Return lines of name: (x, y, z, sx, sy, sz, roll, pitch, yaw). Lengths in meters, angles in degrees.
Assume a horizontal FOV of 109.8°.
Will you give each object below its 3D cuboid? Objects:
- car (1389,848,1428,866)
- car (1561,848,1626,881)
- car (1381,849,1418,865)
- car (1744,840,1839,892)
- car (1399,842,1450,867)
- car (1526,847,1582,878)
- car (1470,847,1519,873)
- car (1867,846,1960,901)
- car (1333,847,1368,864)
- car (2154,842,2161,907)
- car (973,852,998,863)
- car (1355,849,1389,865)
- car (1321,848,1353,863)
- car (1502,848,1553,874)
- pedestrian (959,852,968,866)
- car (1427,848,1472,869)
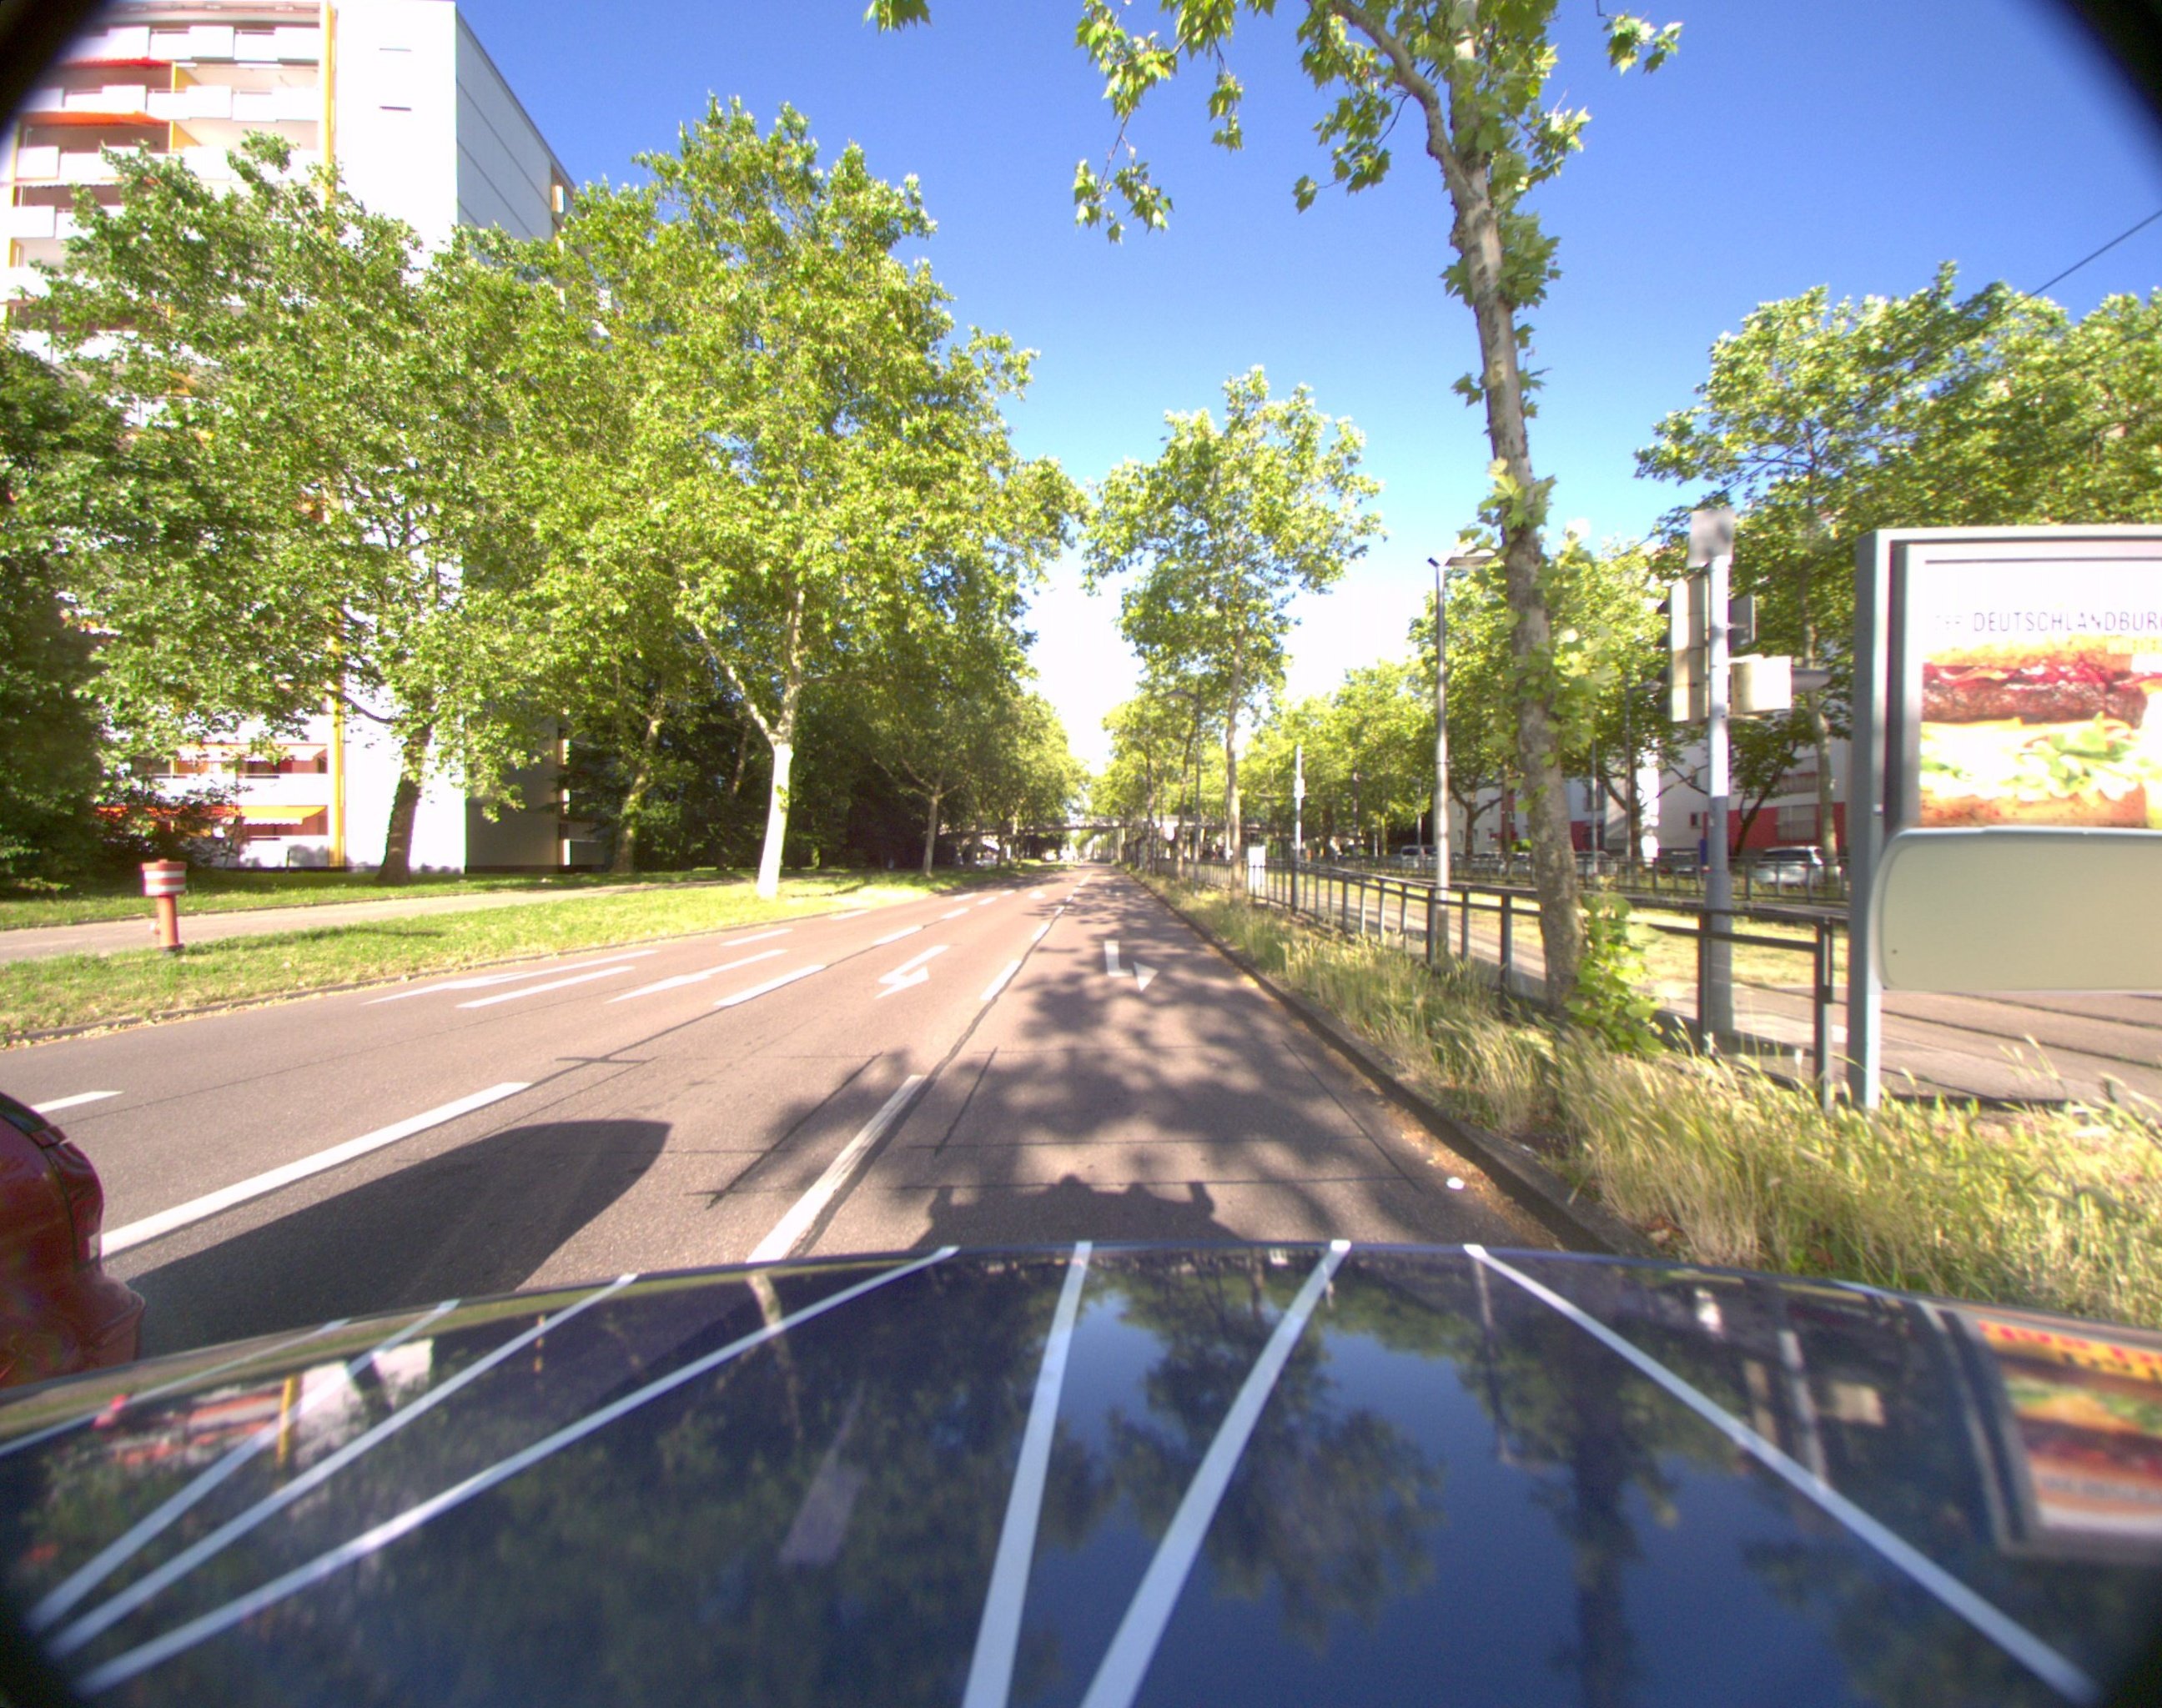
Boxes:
car: (25.980, 0.237, 60.244, 3.494, 1.336, 1.476, -1, 1, -41)
car: (25.518, 0.517, 37.779, 3.890, 1.406, 1.486, -3, 1, -37)
car: (26.853, 0.271, 63.967, 3.494, 1.293, 1.476, -1, 1, -41)
car: (25.222, 0.402, 26.941, 4.007, 1.586, 1.810, -3, 1, -37)
car: (25.767, 0.018, 56.951, 4.056, 1.802, 1.864, -1, 1, -40)
car: (25.738, 0.448, 41.331, 3.402, 1.499, 1.461, -3, 1, -37)
car: (25.871, 0.347, 47.501, 3.493, 1.417, 1.558, -3, -1, -42)
car: (25.237, 0.539, 23.012, 3.770, 1.420, 1.555, -3, 1, -37)
car: (26.068, 0.148, 73.383, 3.835, 1.561, 1.597, -1, 1, -43)
car: (24.600, 0.526, 16.026, 4.007, 1.479, 1.689, -3, 1, -44)
car: (-15.252, 0.531, 121.386, 3.999, 1.465, 1.797, -3, 1, -8)
car: (26.682, 0.267, 69.622, 3.494, 1.312, 1.476, -1, 1, -41)
car: (26.843, 0.134, 79.613, 3.742, 1.517, 1.597, -1, 1, -43)
car: (26.210, 0.415, 44.592, 3.493, 1.321, 1.476, -3, 0, -41)
pedestrian: (-17.327, 0.792, 112.296, 0.918, 2.002, 0.962, -2, 1, 8)
car: (26.160, 0.333, 53.907, 3.494, 1.395, 1.623, -1, 1, -41)
